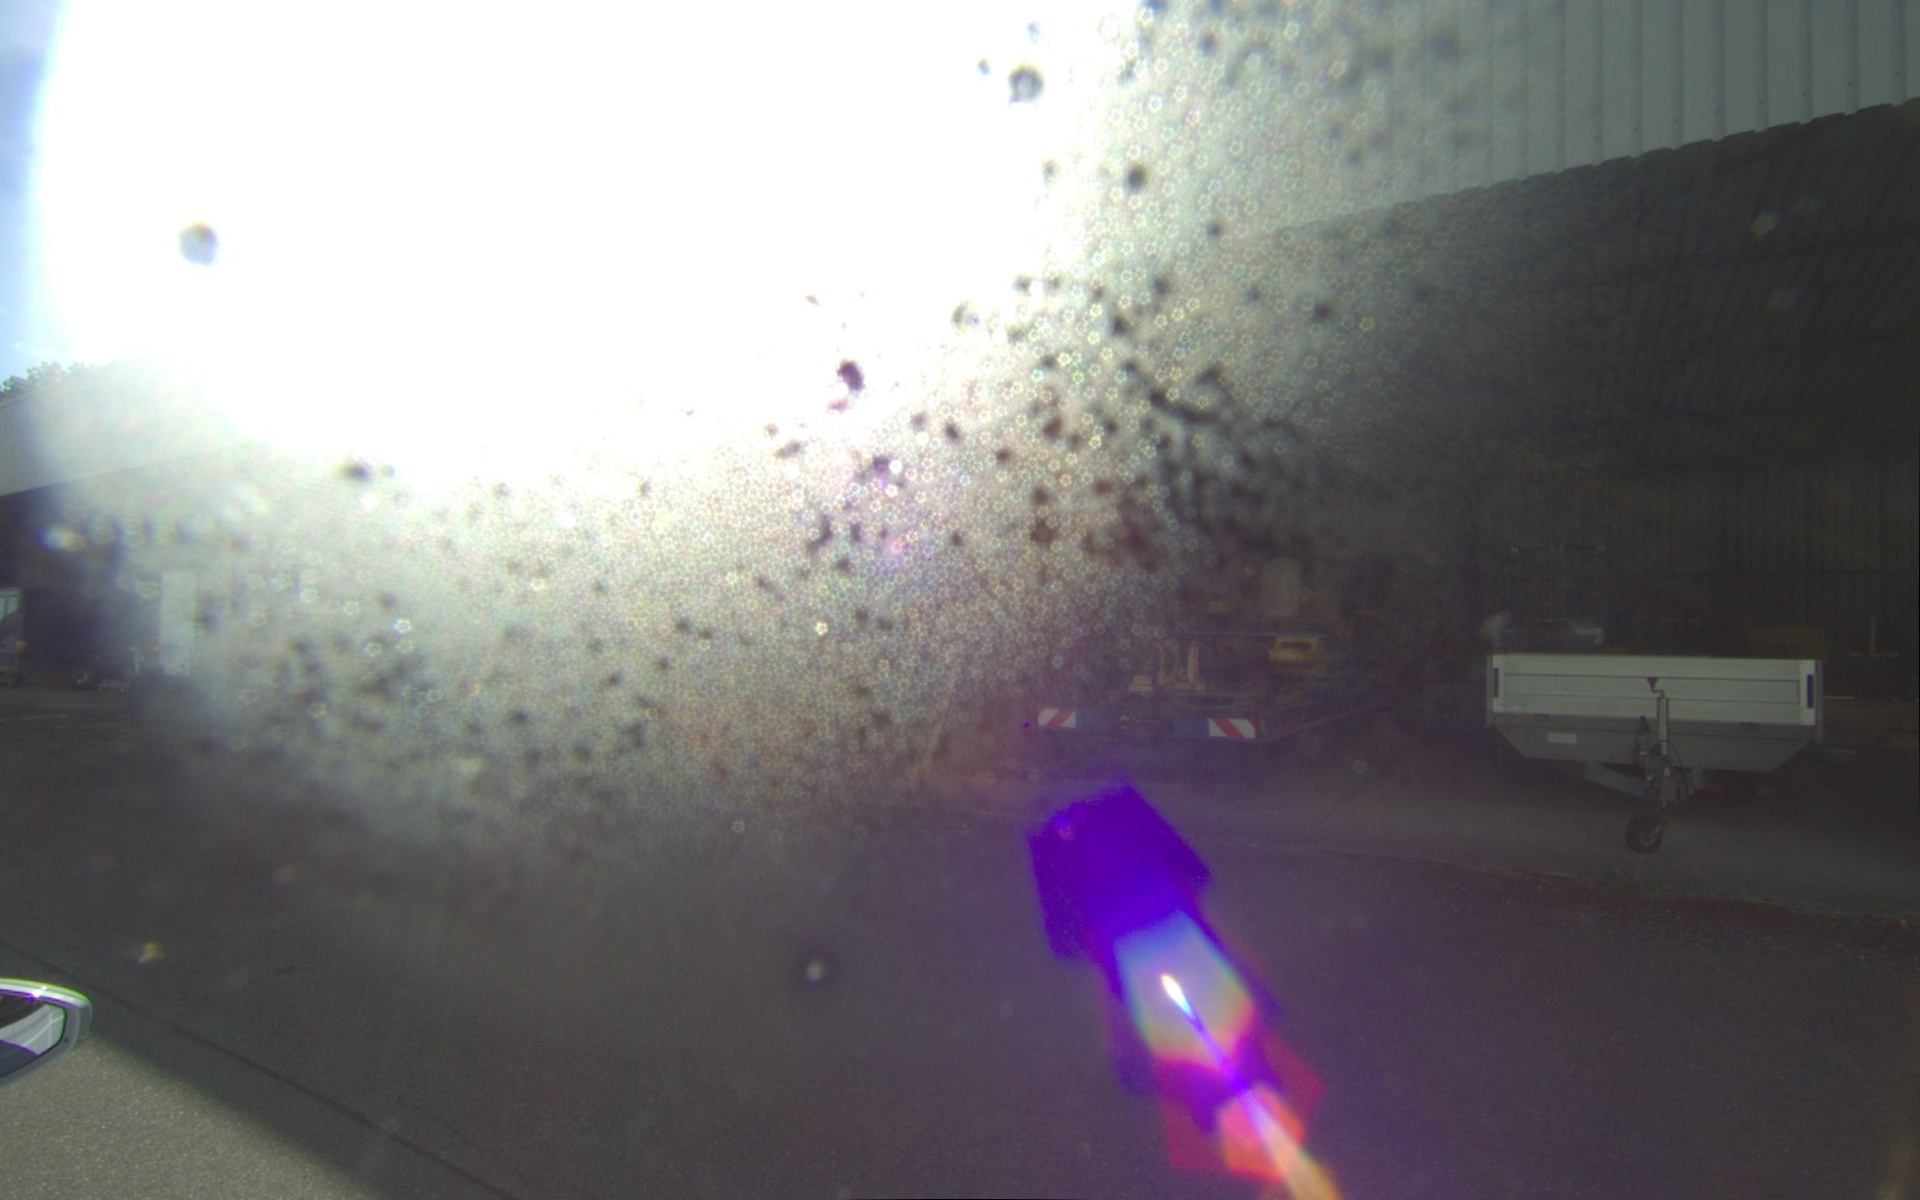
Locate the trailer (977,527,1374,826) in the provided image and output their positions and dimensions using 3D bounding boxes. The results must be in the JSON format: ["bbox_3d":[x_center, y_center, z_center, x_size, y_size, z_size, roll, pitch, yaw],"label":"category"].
[{"bbox_3d":[2.226,0.562,9.198,2.133,2.016,4.413,-1,-1,33],"label":"trailer"}]

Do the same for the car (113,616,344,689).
[{"bbox_3d":[-16.856,1.184,23.271,1.812,1.533,3.961,-1,-2,29],"label":"car"}]

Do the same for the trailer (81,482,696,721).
[{"bbox_3d":[-9.892,0.103,19.289,2.761,3.386,10.249,0,-1,32],"label":"trailer"}]

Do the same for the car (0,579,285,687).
[{"bbox_3d":[-19.843,0.809,24.348,2.121,2.310,5.325,-1,-2,31],"label":"car"}]

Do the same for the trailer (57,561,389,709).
[{"bbox_3d":[-13.317,0.604,18.405,2.018,2.372,4.507,-1,-1,33],"label":"trailer"}]

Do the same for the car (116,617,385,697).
[{"bbox_3d":[-14.682,1.136,21.000,1.841,1.490,4.245,0,-2,29],"label":"car"}]

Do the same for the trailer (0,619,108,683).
[{"bbox_3d":[-22.610,1.218,24.757,1.715,1.485,2.032,-1,-1,36],"label":"trailer"}]

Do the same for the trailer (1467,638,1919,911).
[{"bbox_3d":[5.226,0.953,7.796,1.945,1.200,5.720,-1,-1,30],"label":"trailer"}]
